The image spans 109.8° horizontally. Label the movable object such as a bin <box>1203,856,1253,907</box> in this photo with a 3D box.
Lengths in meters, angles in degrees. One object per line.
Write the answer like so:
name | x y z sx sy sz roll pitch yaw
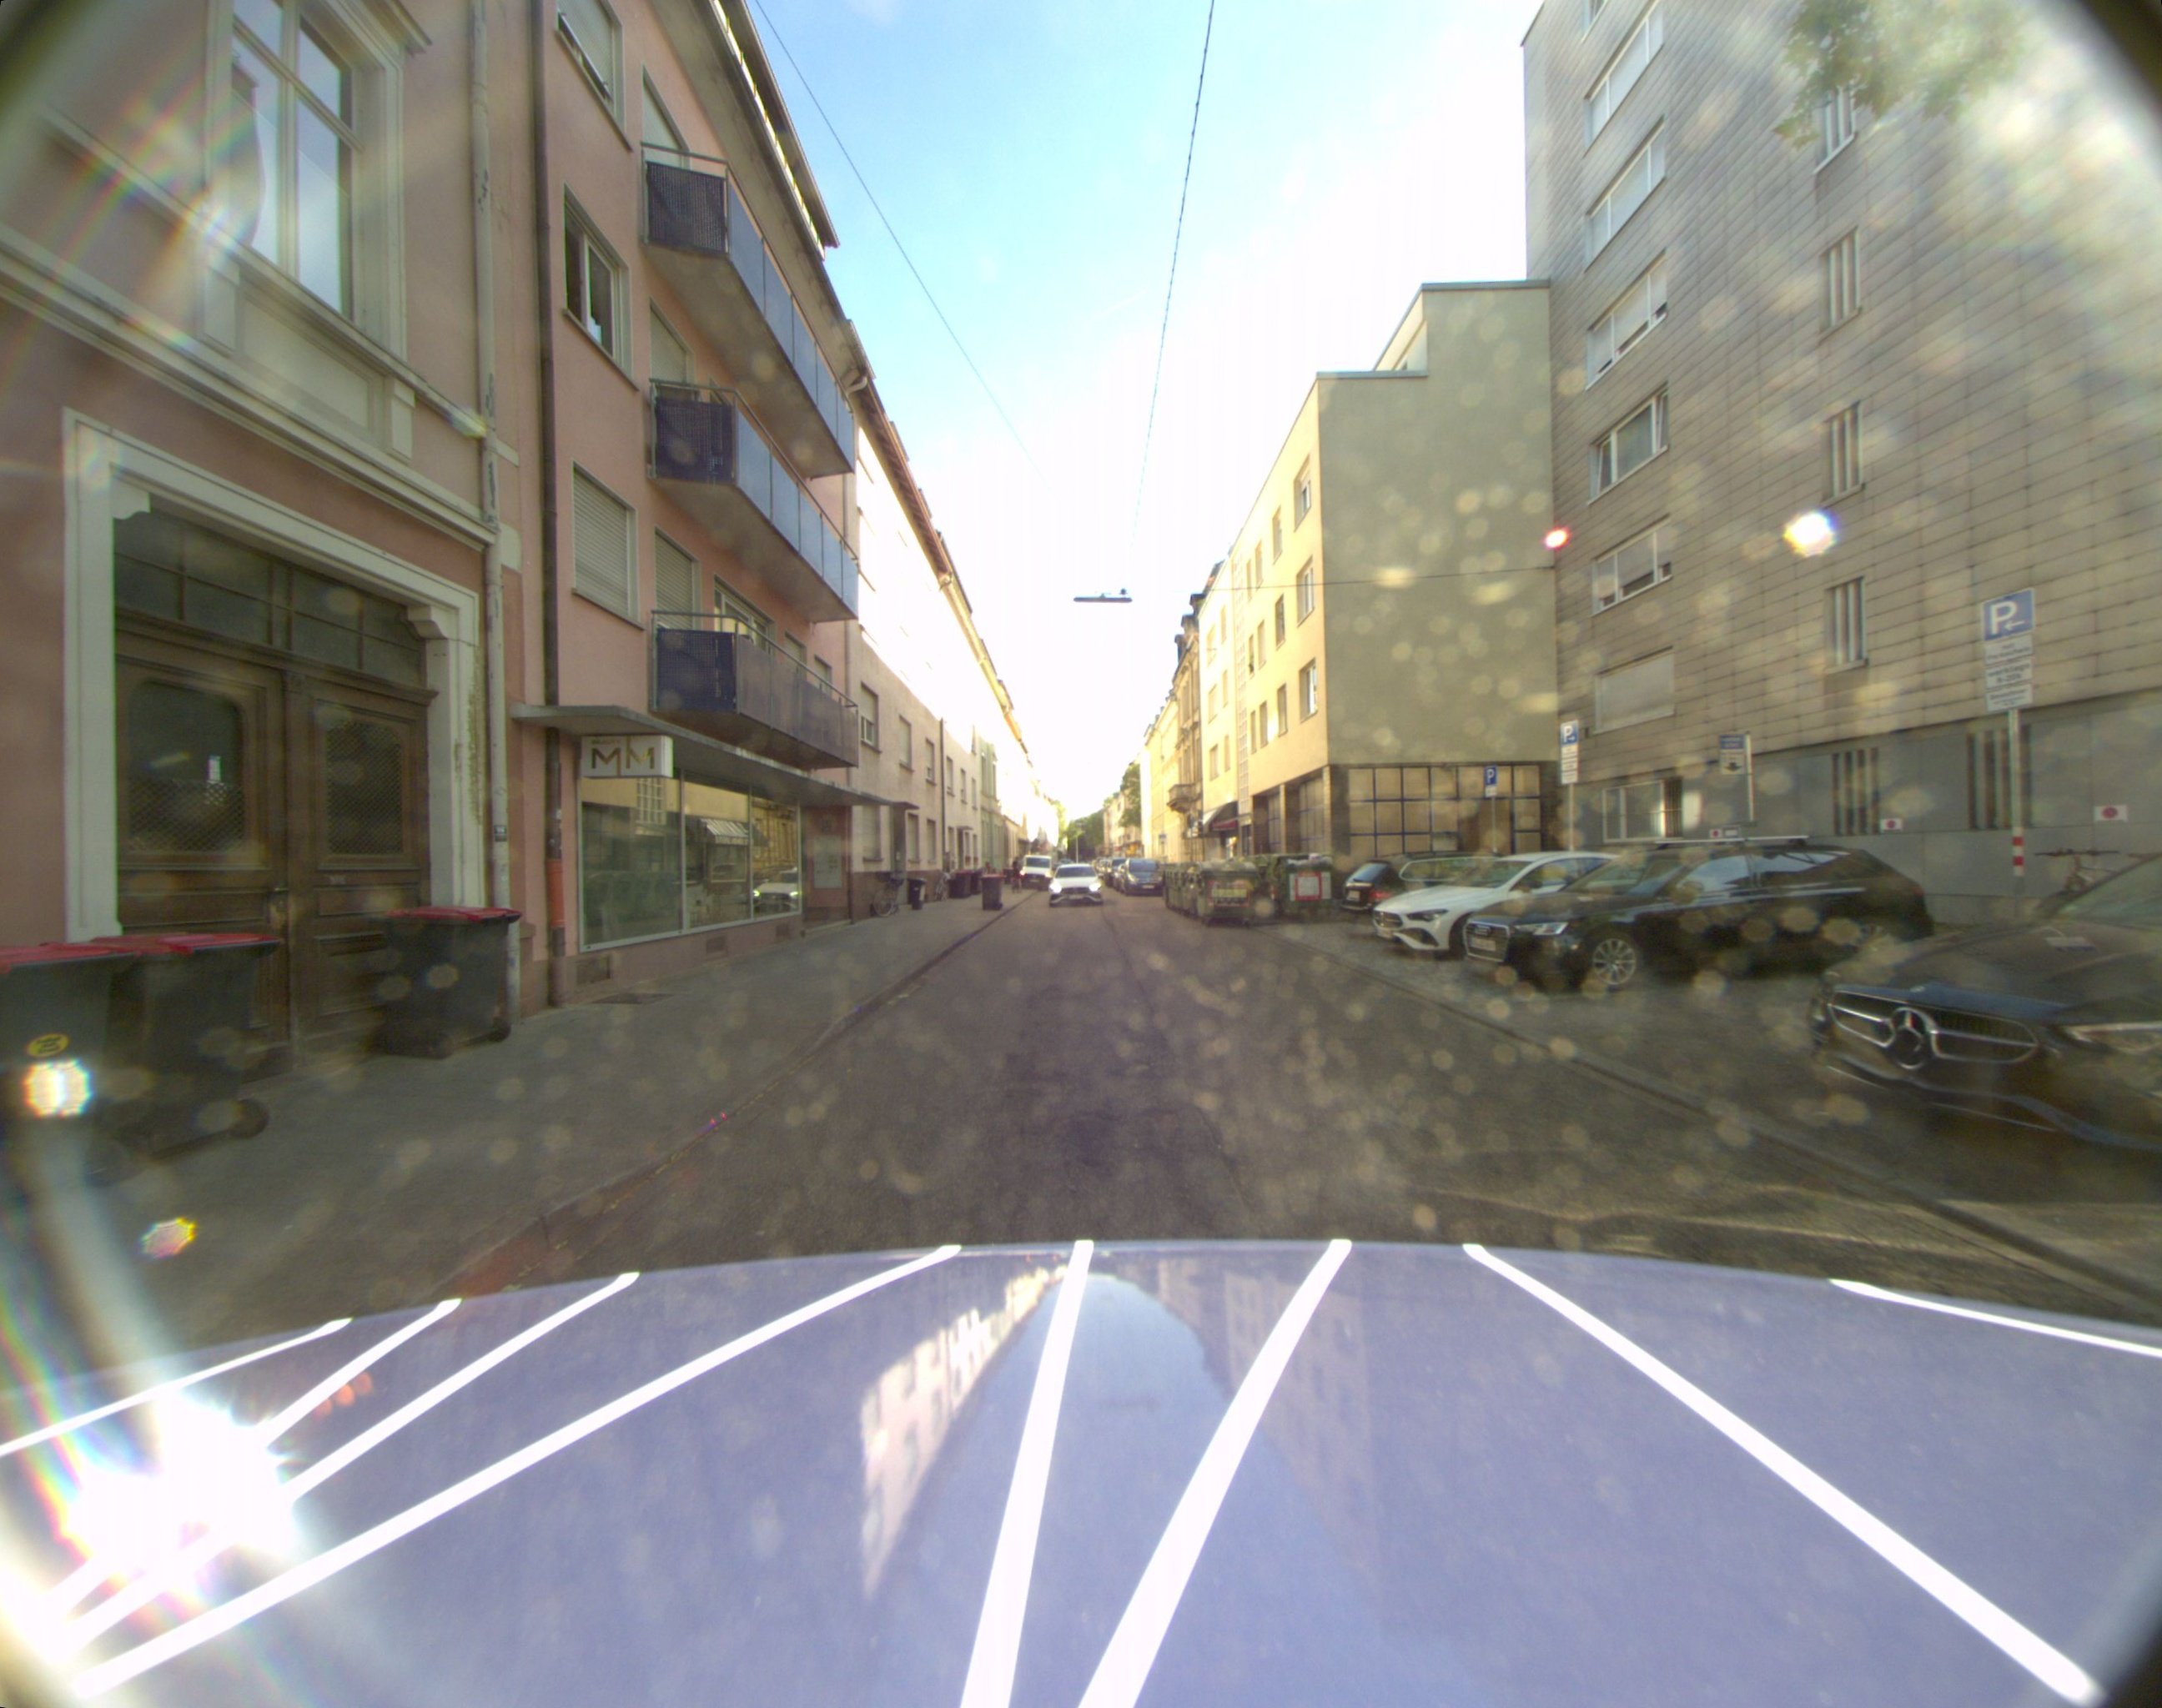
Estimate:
movable object such as a bin | 4.550 0.833 23.598 1.300 1.489 1.178 -2 1 0

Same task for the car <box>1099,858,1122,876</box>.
car | 2.544 1.156 66.968 1.718 1.479 4.852 1 0 -1

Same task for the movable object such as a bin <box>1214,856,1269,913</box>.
movable object such as a bin | 4.490 0.849 21.362 1.305 1.514 1.018 -2 1 0

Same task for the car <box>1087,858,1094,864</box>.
car | 2.666 1.864 207.200 1.786 1.674 4.021 -1 0 0

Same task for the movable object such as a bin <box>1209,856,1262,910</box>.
movable object such as a bin | 4.541 0.839 22.439 1.309 1.490 1.157 -2 1 0

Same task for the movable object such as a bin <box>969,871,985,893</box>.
movable object such as a bin | -4.696 1.259 34.314 0.578 0.919 0.607 1 0 0

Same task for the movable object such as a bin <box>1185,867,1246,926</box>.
movable object such as a bin | 3.193 0.987 18.193 1.244 1.314 1.045 -2 1 0

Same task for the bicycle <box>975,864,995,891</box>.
bicycle | -4.619 1.131 36.670 0.438 1.199 2.267 -1 1 7

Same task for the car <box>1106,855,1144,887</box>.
car | 2.527 0.958 45.026 1.941 1.726 5.142 0 0 0

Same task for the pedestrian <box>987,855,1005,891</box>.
pedestrian | -4.101 0.896 36.620 0.656 1.701 0.687 -1 1 12

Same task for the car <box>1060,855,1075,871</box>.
car | -1.893 1.239 107.070 1.975 2.017 4.899 -3 0 -1

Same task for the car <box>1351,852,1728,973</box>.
car | 6.537 0.783 11.218 4.353 1.417 1.957 -3 1 -1

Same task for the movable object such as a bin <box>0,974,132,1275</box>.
movable object such as a bin | -4.483 1.065 2.958 0.747 1.080 0.635 -1 1 2

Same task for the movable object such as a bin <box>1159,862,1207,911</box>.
movable object such as a bin | 3.147 0.990 23.607 1.323 1.442 1.187 0 1 0

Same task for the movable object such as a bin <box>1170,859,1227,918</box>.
movable object such as a bin | 3.127 0.914 20.352 1.346 1.490 1.018 -2 1 0

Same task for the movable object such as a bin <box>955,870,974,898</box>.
movable object such as a bin | -4.642 1.181 30.354 0.658 1.098 0.593 -1 0 1

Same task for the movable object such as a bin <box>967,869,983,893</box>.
movable object such as a bin | -4.688 1.188 33.704 0.617 1.056 0.603 1 0 0

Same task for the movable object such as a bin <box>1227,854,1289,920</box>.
movable object such as a bin | 4.477 0.820 19.295 1.292 1.595 1.082 -2 1 0

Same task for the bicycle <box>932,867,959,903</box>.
bicycle | -4.775 1.072 26.965 0.538 1.163 2.076 3 0 0

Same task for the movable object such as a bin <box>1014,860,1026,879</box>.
movable object such as a bin | -4.499 1.130 56.099 0.839 1.382 1.296 1 2 -1

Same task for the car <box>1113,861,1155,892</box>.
car | 2.668 1.122 39.229 1.850 1.409 4.817 0 0 0

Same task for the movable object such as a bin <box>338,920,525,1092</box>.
movable object such as a bin | -4.687 1.070 5.536 0.731 1.097 0.693 -1 1 -2

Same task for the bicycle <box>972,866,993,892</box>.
bicycle | -4.608 1.148 35.580 0.570 1.147 1.868 -1 1 5

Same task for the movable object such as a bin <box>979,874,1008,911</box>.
movable object such as a bin | -2.643 1.158 23.052 0.770 1.080 0.693 -1 1 1

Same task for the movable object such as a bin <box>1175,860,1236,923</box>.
movable object such as a bin | 3.145 0.928 19.284 1.338 1.482 1.082 -2 1 0

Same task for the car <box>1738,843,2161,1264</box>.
car | 6.383 0.684 3.740 4.511 1.462 1.929 -4 0 1

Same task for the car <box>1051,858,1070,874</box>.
car | -2.166 1.304 82.115 1.805 1.569 4.897 -2 0 0

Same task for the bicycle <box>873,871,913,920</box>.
bicycle | -4.767 1.032 19.346 0.454 1.127 1.920 1 0 2

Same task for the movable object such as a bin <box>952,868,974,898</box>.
movable object such as a bin | -4.629 1.129 29.759 0.740 1.091 0.640 2 1 1

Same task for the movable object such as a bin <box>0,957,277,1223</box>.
movable object such as a bin | -4.481 1.068 3.590 0.703 1.067 0.596 -1 1 2

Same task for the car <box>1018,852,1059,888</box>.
car | -2.386 0.885 43.794 1.988 1.872 5.599 2 0 0

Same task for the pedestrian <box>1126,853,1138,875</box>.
pedestrian | 4.272 0.856 63.640 0.913 1.822 1.245 -1 1 0

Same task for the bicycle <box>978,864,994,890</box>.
bicycle | -4.738 1.124 38.006 0.406 1.199 2.160 -1 1 3

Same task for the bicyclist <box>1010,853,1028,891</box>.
bicyclist | -2.977 0.869 36.380 0.762 1.760 0.822 1 -1 -2

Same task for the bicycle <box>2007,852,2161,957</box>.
bicycle | 12.005 0.545 8.561 0.611 1.117 2.038 -3 0 0

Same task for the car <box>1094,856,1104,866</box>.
car | 3.672 1.431 157.858 1.913 2.076 4.696 -1 0 0

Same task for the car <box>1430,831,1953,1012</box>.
car | 6.685 0.670 8.687 4.478 1.600 1.915 -3 1 -2

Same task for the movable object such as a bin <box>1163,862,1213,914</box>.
movable object such as a bin | 3.142 0.974 22.433 1.337 1.476 1.093 0 1 0

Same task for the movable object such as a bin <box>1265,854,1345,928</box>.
movable object such as a bin | 4.940 0.801 16.867 1.357 1.540 1.120 -2 1 -6

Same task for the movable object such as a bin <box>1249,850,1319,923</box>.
movable object such as a bin | 4.800 0.746 18.025 1.231 1.643 1.173 -2 1 -6

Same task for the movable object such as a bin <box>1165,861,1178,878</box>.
movable object such as a bin | 6.069 1.021 50.996 0.721 1.125 0.584 -1 1 -4

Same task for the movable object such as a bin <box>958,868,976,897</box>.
movable object such as a bin | -4.628 1.152 30.916 0.629 1.116 0.569 -1 1 1

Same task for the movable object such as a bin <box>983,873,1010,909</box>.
movable object such as a bin | -2.650 1.159 23.766 0.734 1.074 0.703 -1 1 1

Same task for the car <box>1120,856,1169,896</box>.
car | 2.742 0.933 33.846 1.787 1.657 4.670 0 0 0

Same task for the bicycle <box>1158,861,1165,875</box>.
bicycle | 6.194 1.092 58.295 0.361 1.022 1.918 -1 1 10

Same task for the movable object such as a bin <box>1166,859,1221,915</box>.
movable object such as a bin | 3.147 0.904 21.388 1.352 1.478 1.003 -2 1 0

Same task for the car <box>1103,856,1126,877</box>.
car | 2.671 1.022 61.107 1.748 1.605 4.603 0 -1 1

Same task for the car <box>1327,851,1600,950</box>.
car | 6.604 0.769 13.433 3.885 1.496 1.826 -2 1 -1

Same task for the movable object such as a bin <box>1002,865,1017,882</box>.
movable object such as a bin | -4.600 1.234 48.835 0.814 1.082 0.674 -1 1 2

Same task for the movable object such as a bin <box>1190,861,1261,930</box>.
movable object such as a bin | 3.220 0.902 17.093 1.304 1.442 1.117 -2 1 -3

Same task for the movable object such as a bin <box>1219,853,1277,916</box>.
movable object such as a bin | 4.461 0.805 20.360 1.297 1.611 1.018 -2 1 0

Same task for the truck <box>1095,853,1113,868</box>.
truck | 3.592 1.048 119.962 2.171 2.295 6.344 0 0 -5

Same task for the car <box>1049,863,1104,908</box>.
car | -0.140 1.061 27.009 1.761 1.399 4.021 -1 0 0

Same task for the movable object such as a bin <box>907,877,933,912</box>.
movable object such as a bin | -4.674 1.169 22.087 0.599 0.946 0.682 -1 1 1

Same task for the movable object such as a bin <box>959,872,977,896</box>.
movable object such as a bin | -4.690 1.239 31.550 0.607 0.929 0.605 -1 0 1

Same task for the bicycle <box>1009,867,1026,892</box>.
bicycle | -3.007 1.189 36.157 0.665 1.130 1.988 2 -1 -2

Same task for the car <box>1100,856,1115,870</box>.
car | 3.567 1.176 102.593 1.771 1.887 4.809 1 -1 -1
